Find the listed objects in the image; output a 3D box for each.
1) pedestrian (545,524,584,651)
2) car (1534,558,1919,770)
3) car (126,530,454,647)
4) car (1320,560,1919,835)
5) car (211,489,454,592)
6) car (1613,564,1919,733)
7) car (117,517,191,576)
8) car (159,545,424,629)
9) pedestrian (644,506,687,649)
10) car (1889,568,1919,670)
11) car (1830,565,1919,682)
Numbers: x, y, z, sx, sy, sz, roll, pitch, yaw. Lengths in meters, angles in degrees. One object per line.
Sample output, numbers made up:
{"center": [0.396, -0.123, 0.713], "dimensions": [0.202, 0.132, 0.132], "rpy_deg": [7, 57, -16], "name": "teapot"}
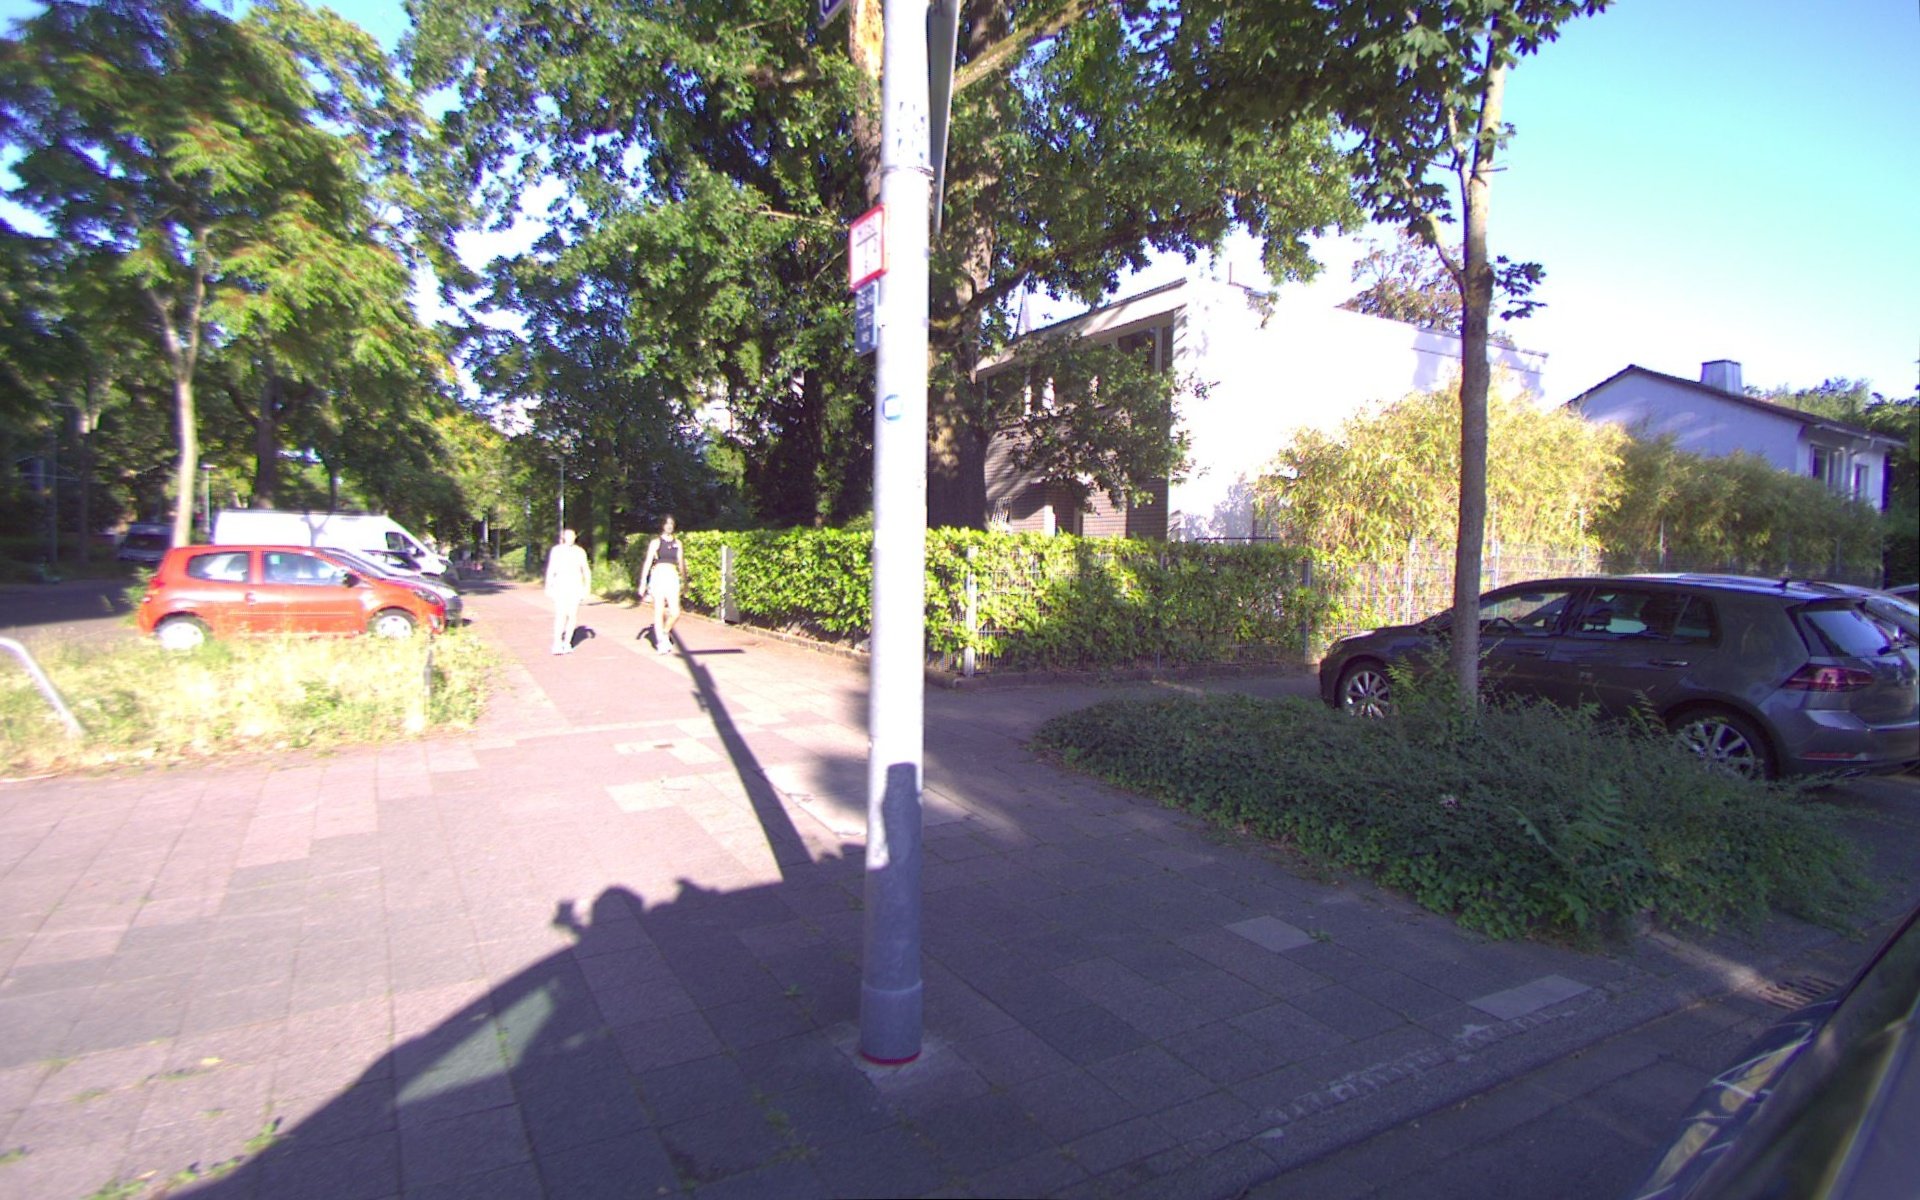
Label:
{"center": [-5.138, -0.175, 13.140], "dimensions": [0.426, 1.600, 0.667], "rpy_deg": [0, 2, -25], "name": "pedestrian"}
{"center": [7.300, 0.441, 9.050], "dimensions": [1.606, 1.509, 3.360], "rpy_deg": [0, 4, -32], "name": "car"}
{"center": [-9.129, -0.190, 14.088], "dimensions": [3.608, 1.437, 1.720], "rpy_deg": [0, 2, -32], "name": "car"}
{"center": [5.010, 0.492, 7.910], "dimensions": [1.613, 1.535, 4.005], "rpy_deg": [0, 2, -31], "name": "car"}
{"center": [-18.046, -1.655, 29.427], "dimensions": [5.794, 2.733, 2.223], "rpy_deg": [0, 2, -32], "name": "car"}
{"center": [9.383, 0.453, 10.393], "dimensions": [1.774, 1.474, 4.107], "rpy_deg": [0, 4, -28], "name": "car"}
{"center": [-38.418, -2.531, 48.329], "dimensions": [1.913, 2.631, 4.174], "rpy_deg": [0, 2, -27], "name": "car"}
{"center": [-12.361, -0.268, 18.971], "dimensions": [3.980, 1.437, 1.720], "rpy_deg": [0, 2, -32], "name": "car"}
{"center": [-3.814, -0.292, 13.094], "dimensions": [0.426, 1.797, 0.667], "rpy_deg": [0, 2, -25], "name": "pedestrian"}
{"center": [16.366, 0.406, 14.662], "dimensions": [1.711, 1.556, 3.929], "rpy_deg": [0, 4, -32], "name": "car"}
{"center": [14.241, 0.394, 13.259], "dimensions": [1.711, 1.556, 3.929], "rpy_deg": [0, 4, -32], "name": "car"}
